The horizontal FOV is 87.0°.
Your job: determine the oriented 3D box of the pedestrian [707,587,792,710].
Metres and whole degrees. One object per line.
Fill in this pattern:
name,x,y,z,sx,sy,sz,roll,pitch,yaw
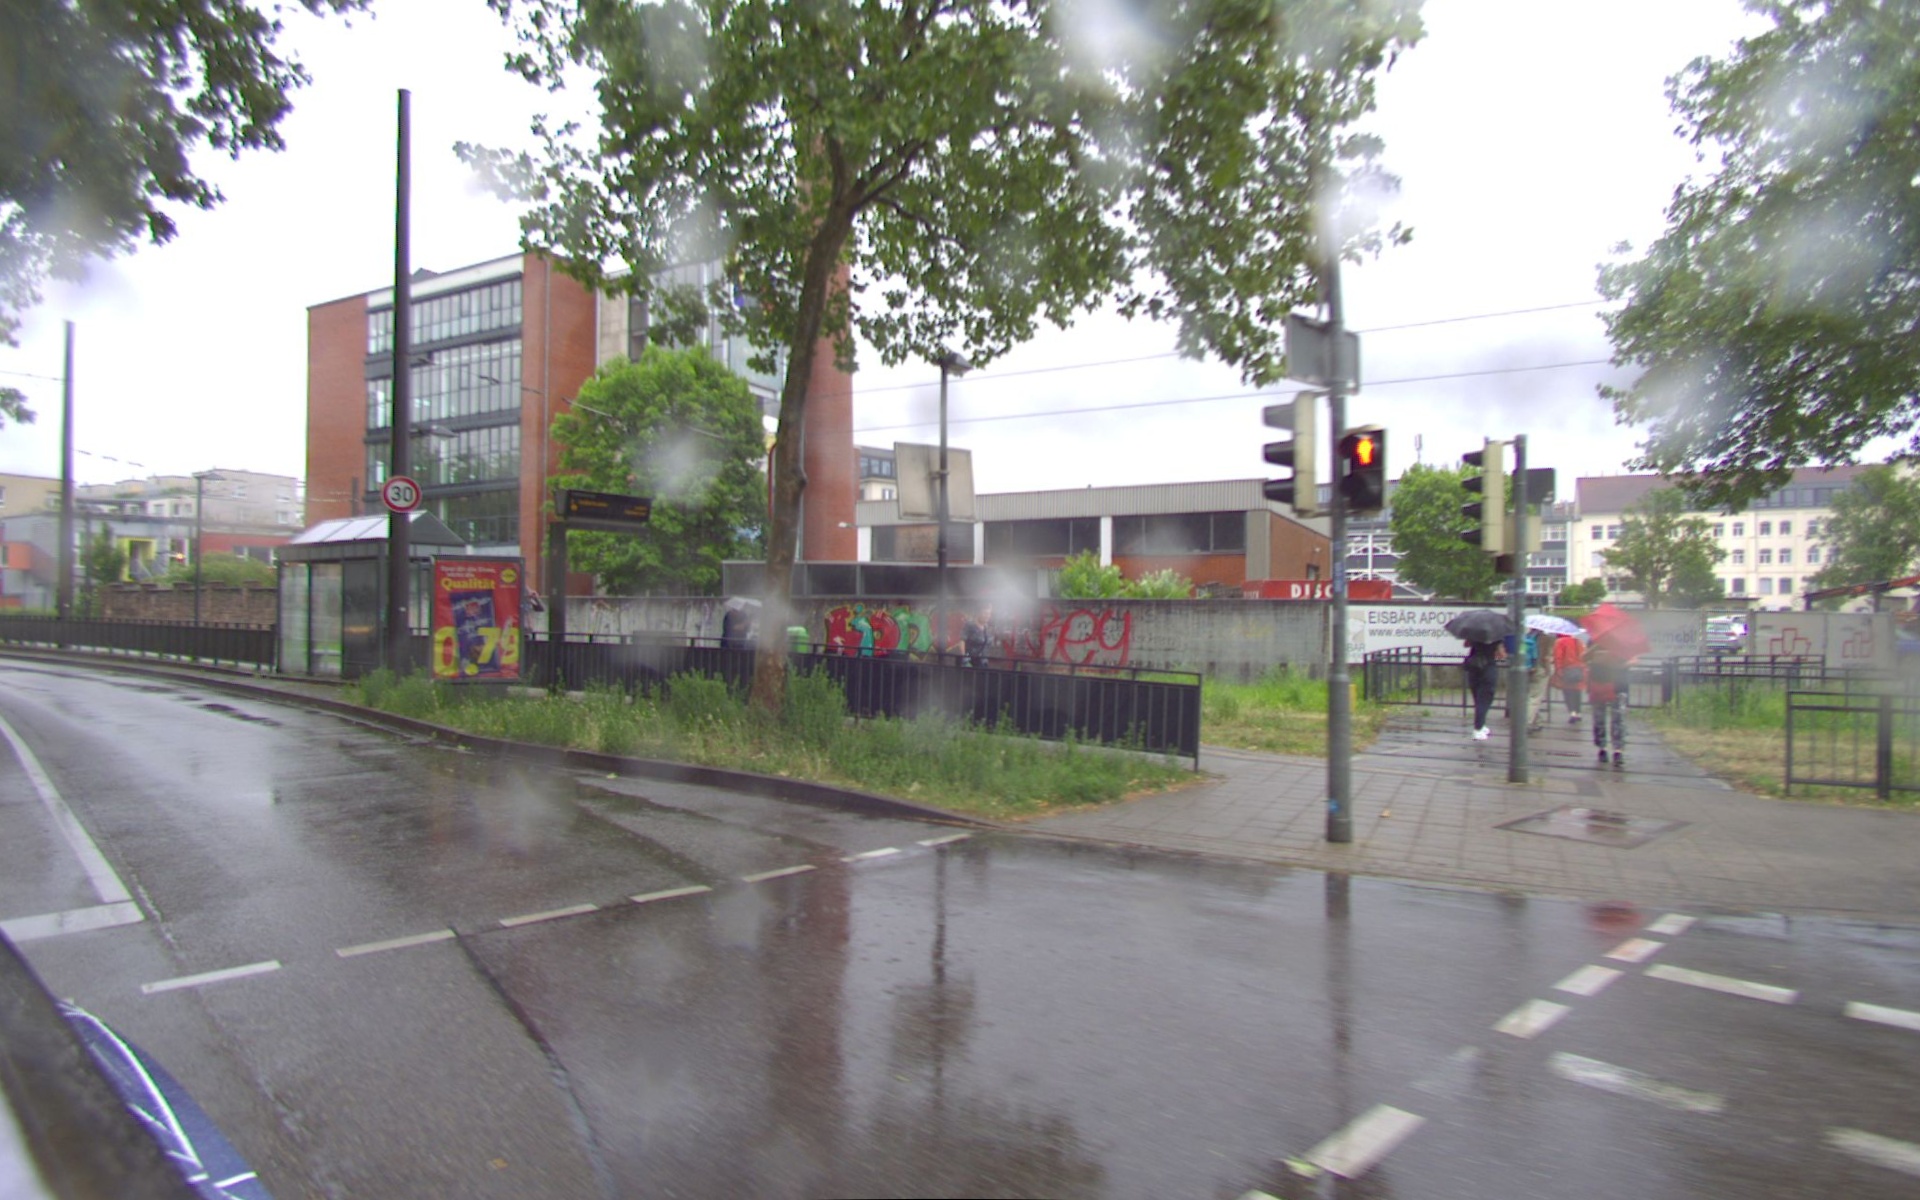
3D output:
pedestrian,-3.012,0.681,14.527,0.846,1.701,0.851,-1,-2,31

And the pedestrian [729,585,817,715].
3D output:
pedestrian,-2.563,0.674,13.905,0.846,1.701,0.851,-1,-2,31

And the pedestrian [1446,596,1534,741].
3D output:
pedestrian,7.182,0.900,13.708,0.953,1.876,0.839,-2,-2,33

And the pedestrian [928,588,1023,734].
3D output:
pedestrian,0.194,0.730,12.383,0.846,1.701,0.851,-1,-2,31

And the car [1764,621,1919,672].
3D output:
car,26.064,1.303,29.498,1.812,1.331,3.677,0,0,-22

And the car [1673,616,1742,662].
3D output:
car,32.064,1.635,43.532,1.993,1.805,3.958,-1,0,31

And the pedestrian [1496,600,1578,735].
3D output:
pedestrian,8.368,0.954,14.664,0.953,1.876,0.839,-2,-2,33

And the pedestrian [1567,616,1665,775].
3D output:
pedestrian,7.396,1.042,11.439,0.858,1.701,0.839,-2,-2,33

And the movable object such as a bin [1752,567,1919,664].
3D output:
movable object such as a bin,29.927,0.491,32.359,2.727,2.953,6.800,0,-1,-19

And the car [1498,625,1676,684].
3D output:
car,16.258,1.368,26.442,1.812,1.331,3.676,0,0,-16

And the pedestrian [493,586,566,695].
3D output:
pedestrian,-7.566,0.706,17.786,0.846,1.846,0.851,-2,-2,31

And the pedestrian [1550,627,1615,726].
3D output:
pedestrian,9.969,1.195,16.209,0.826,1.516,0.839,-2,-2,33
